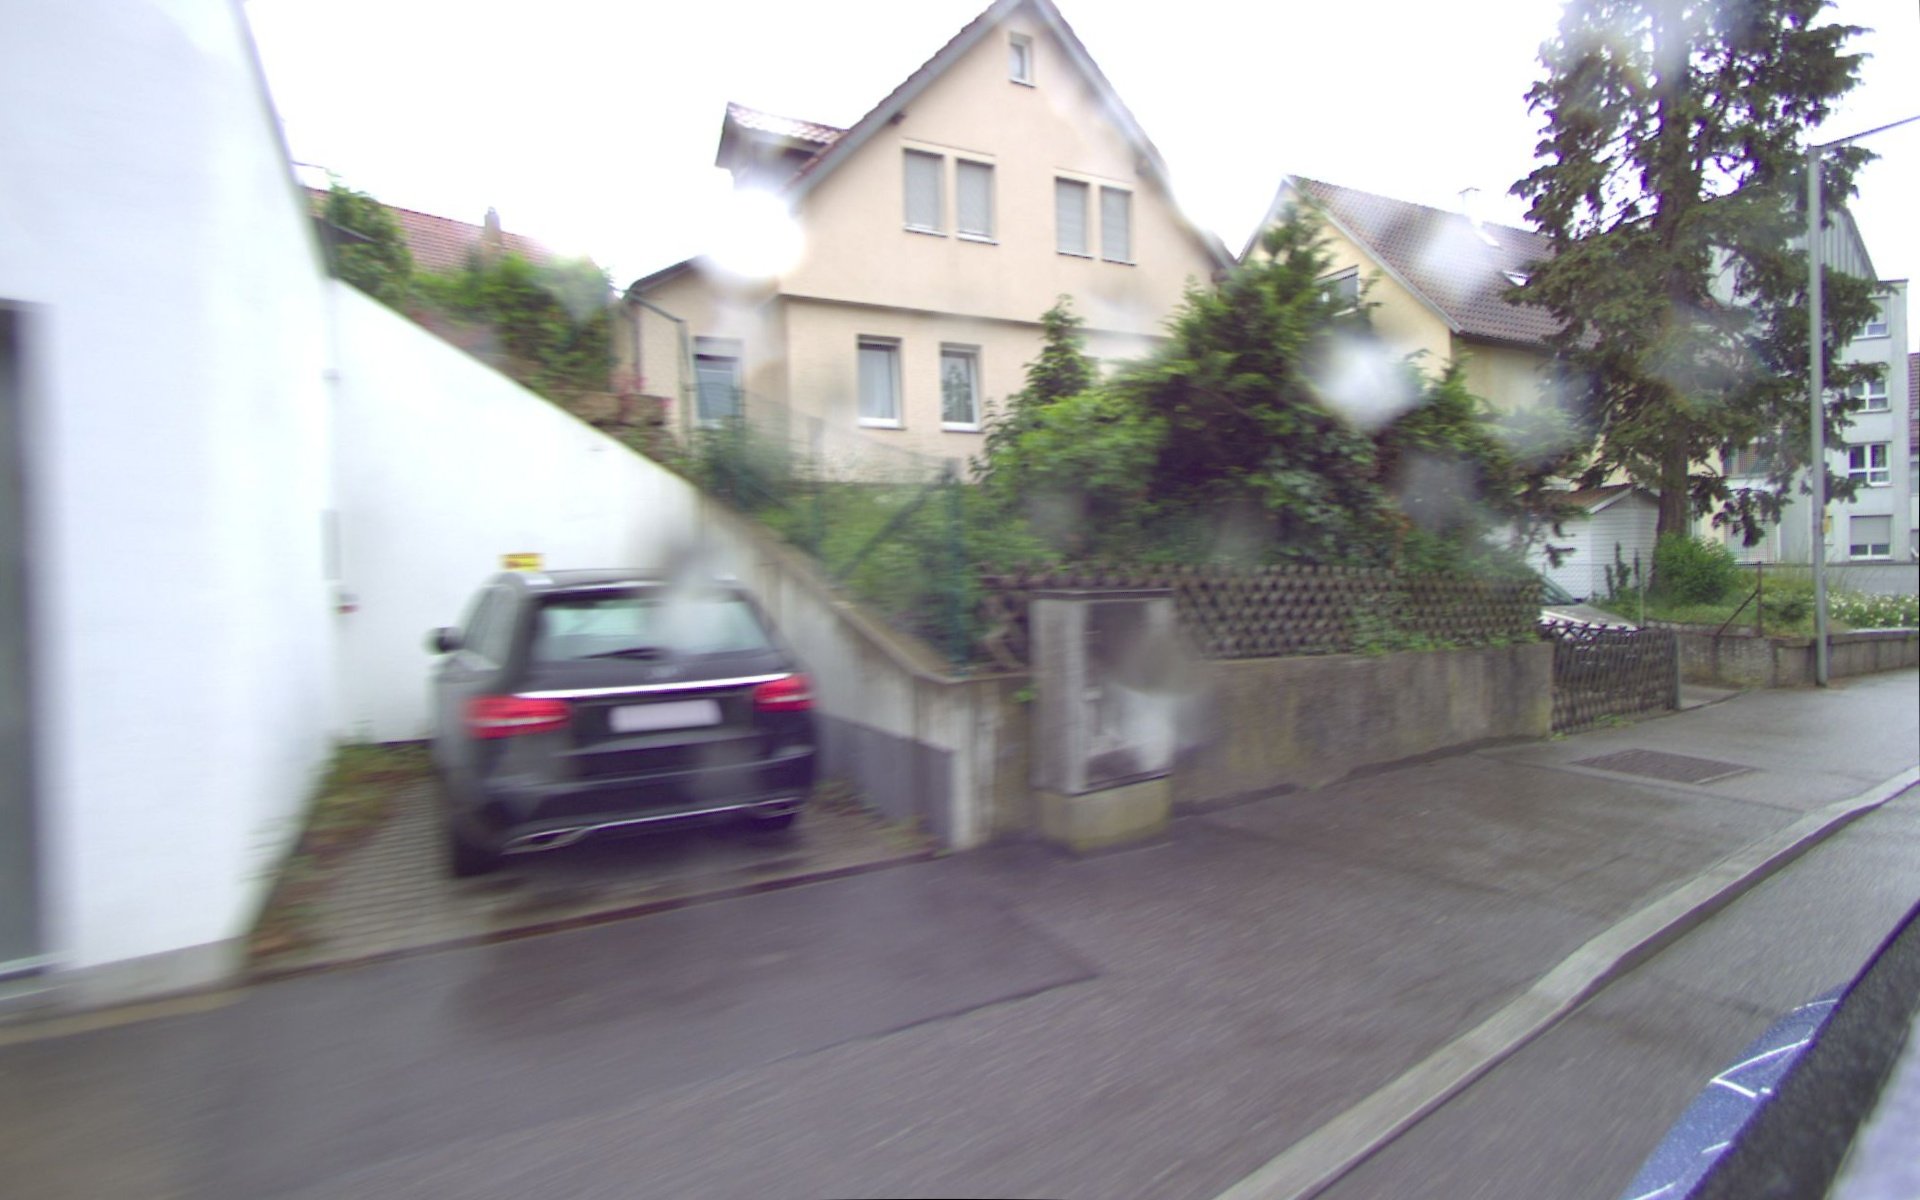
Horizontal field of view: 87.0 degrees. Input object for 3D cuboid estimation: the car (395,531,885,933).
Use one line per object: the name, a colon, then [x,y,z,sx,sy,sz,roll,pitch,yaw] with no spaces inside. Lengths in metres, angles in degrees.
car: [-2.165,0.456,5.951,1.959,1.476,4.005,0,1,-29]

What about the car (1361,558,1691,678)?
car: [8.981,0.197,16.503,1.923,1.674,4.338,1,1,-27]
